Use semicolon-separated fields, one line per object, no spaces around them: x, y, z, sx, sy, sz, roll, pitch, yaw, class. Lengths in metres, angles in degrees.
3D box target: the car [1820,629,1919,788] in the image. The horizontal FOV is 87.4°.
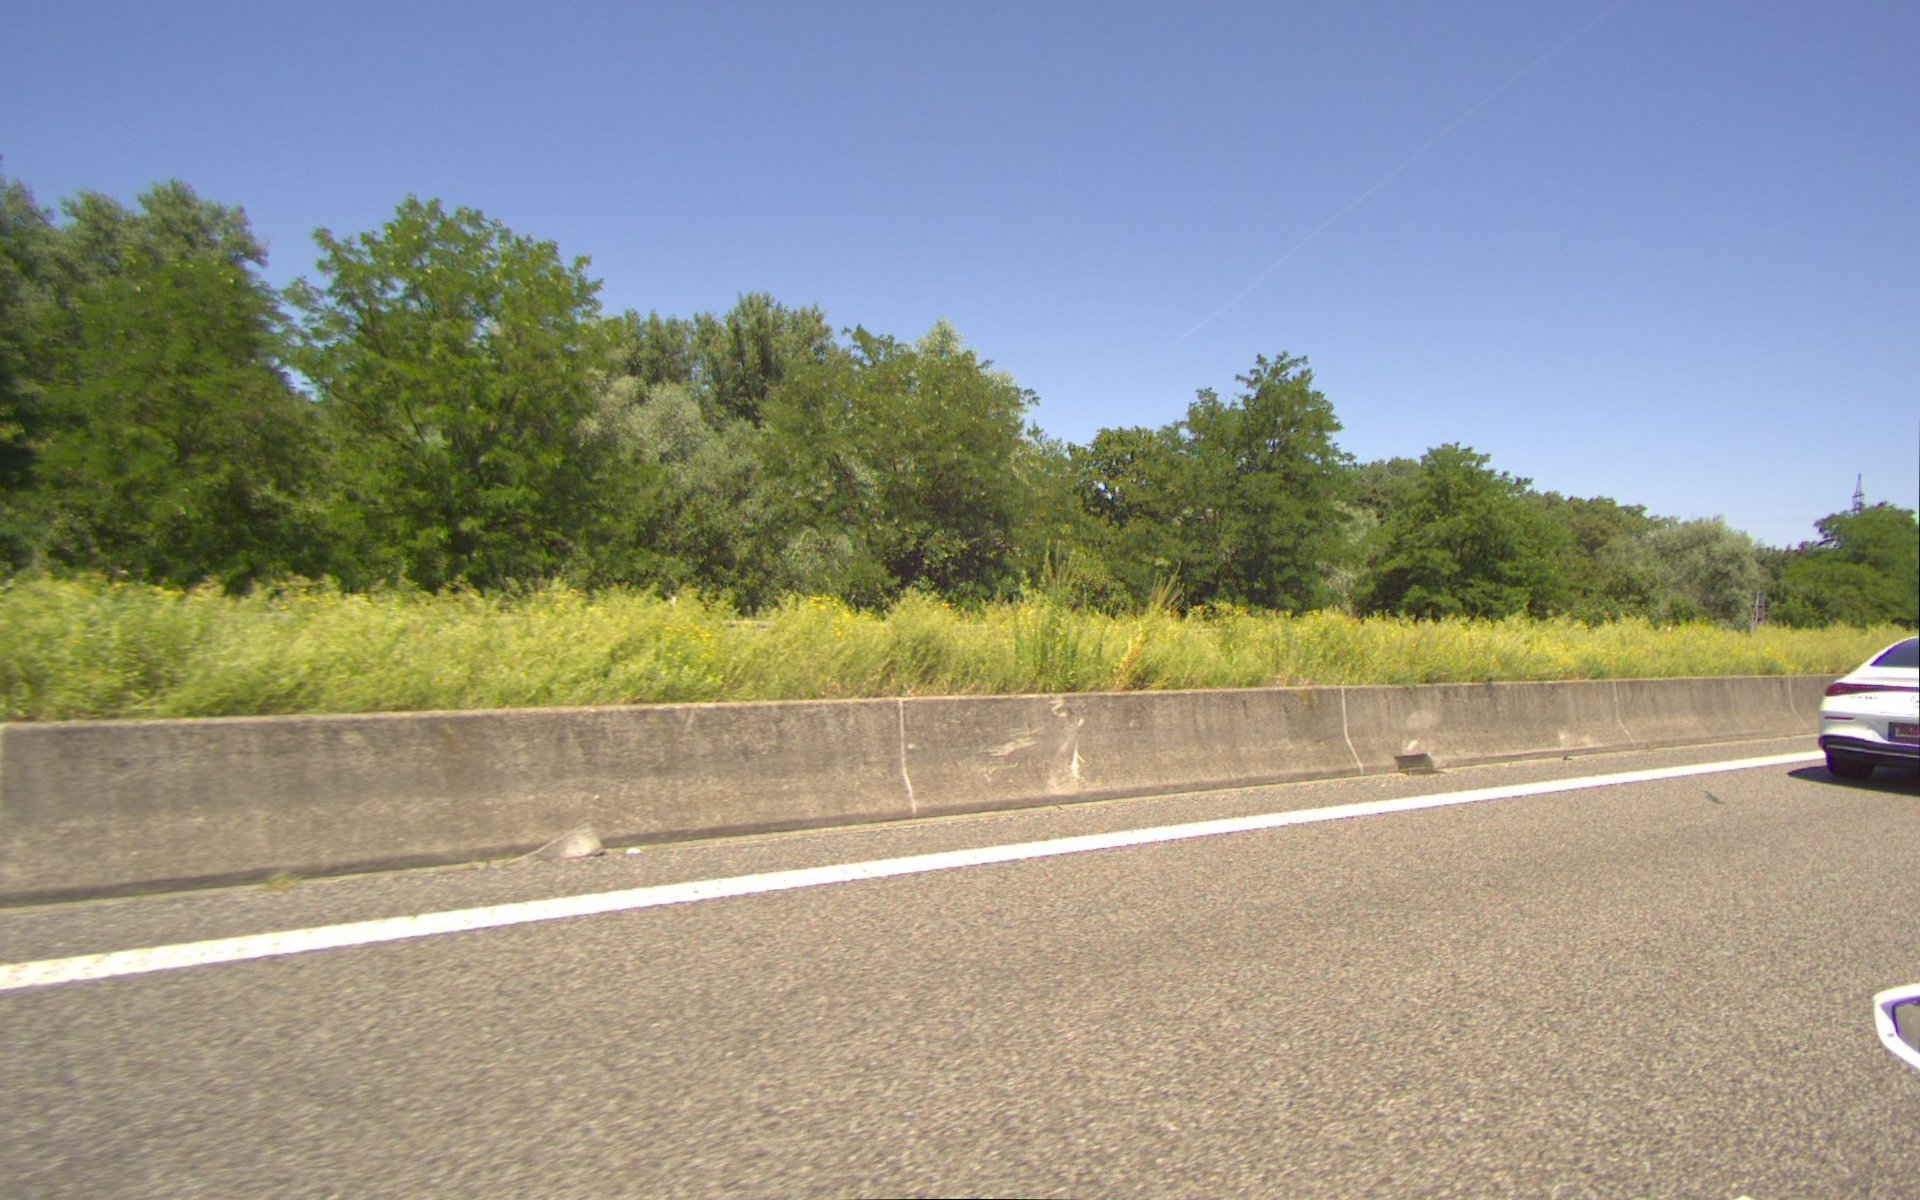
11.225;1.090;10.558;5.048;1.467;1.758;2;0;-30;car
